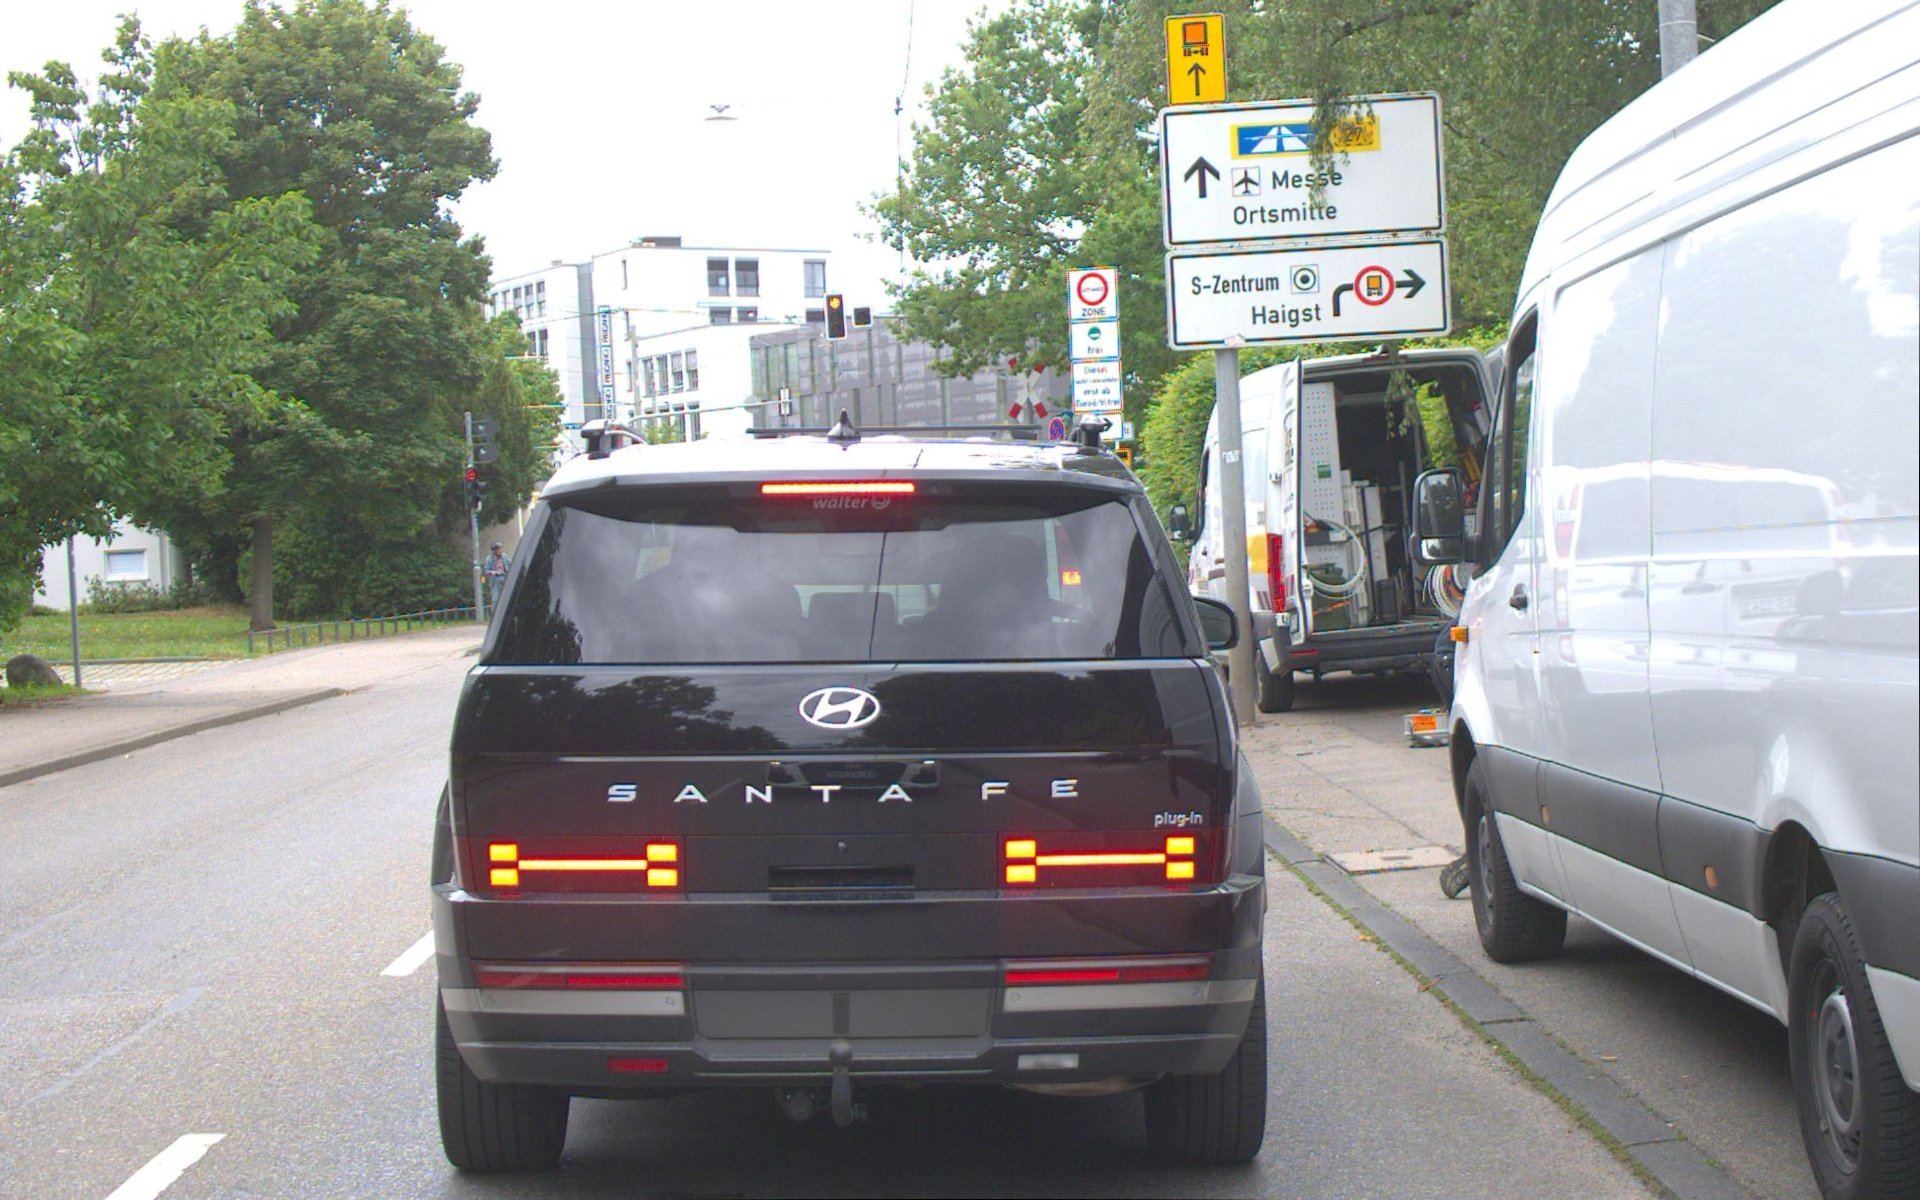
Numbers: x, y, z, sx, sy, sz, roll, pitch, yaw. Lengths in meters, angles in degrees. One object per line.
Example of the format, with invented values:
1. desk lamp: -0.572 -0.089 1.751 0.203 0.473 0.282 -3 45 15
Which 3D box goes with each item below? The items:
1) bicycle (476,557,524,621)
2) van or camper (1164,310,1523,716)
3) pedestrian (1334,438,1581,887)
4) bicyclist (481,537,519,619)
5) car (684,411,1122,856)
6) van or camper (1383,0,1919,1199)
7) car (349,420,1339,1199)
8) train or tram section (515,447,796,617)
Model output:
1. bicycle: -9.428 -0.218 70.465 0.675 1.275 2.501 -1 -1 -14
2. van or camper: 2.912 -0.681 27.327 1.963 2.787 5.287 -4 1 -1
3. pedestrian: 2.017 0.248 13.974 0.617 1.737 0.605 -5 1 -27
4. bicyclist: -9.437 -0.451 70.495 0.675 1.653 0.859 -1 -1 -14
5. car: -0.308 0.109 17.646 1.963 1.994 4.000 -1 1 -1
6. van or camper: 2.588 -0.115 8.504 1.963 2.618 6.359 -4 1 -1
7. car: -0.277 0.466 8.908 1.963 1.705 4.000 -1 1 -1
8. train or tram section: -9.466 -1.820 103.255 3.192 4.507 18.688 0 -1 -22
